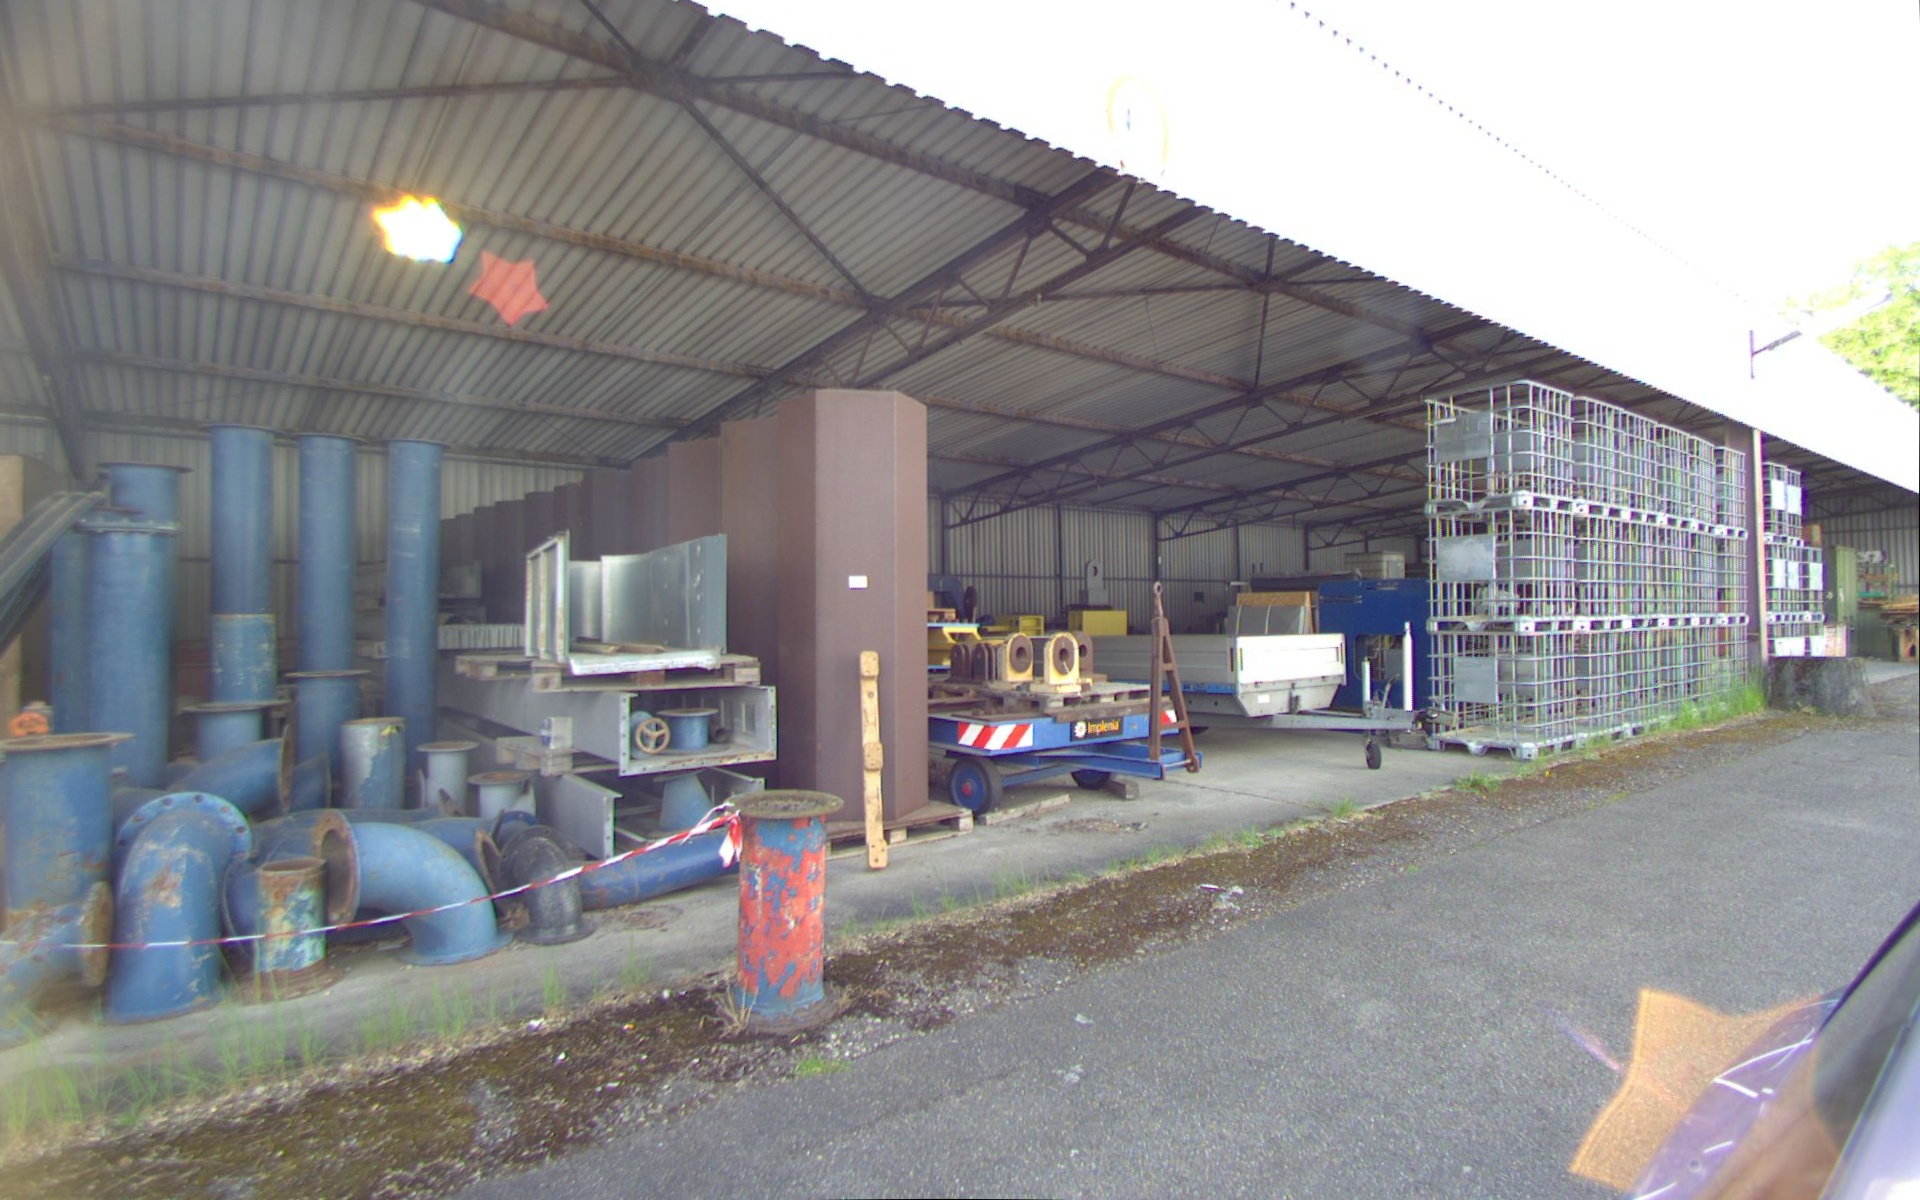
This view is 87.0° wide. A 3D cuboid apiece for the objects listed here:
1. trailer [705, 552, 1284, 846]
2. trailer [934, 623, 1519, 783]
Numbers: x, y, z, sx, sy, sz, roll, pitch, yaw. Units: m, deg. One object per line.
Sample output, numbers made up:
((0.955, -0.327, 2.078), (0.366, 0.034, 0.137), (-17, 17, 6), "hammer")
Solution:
((-0.080, 0.577, 8.222), (1.993, 1.649, 4.877), (0, -1, -39), "trailer")
((2.297, 0.843, 10.514), (1.993, 1.134, 5.834), (0, -1, -39), "trailer")
